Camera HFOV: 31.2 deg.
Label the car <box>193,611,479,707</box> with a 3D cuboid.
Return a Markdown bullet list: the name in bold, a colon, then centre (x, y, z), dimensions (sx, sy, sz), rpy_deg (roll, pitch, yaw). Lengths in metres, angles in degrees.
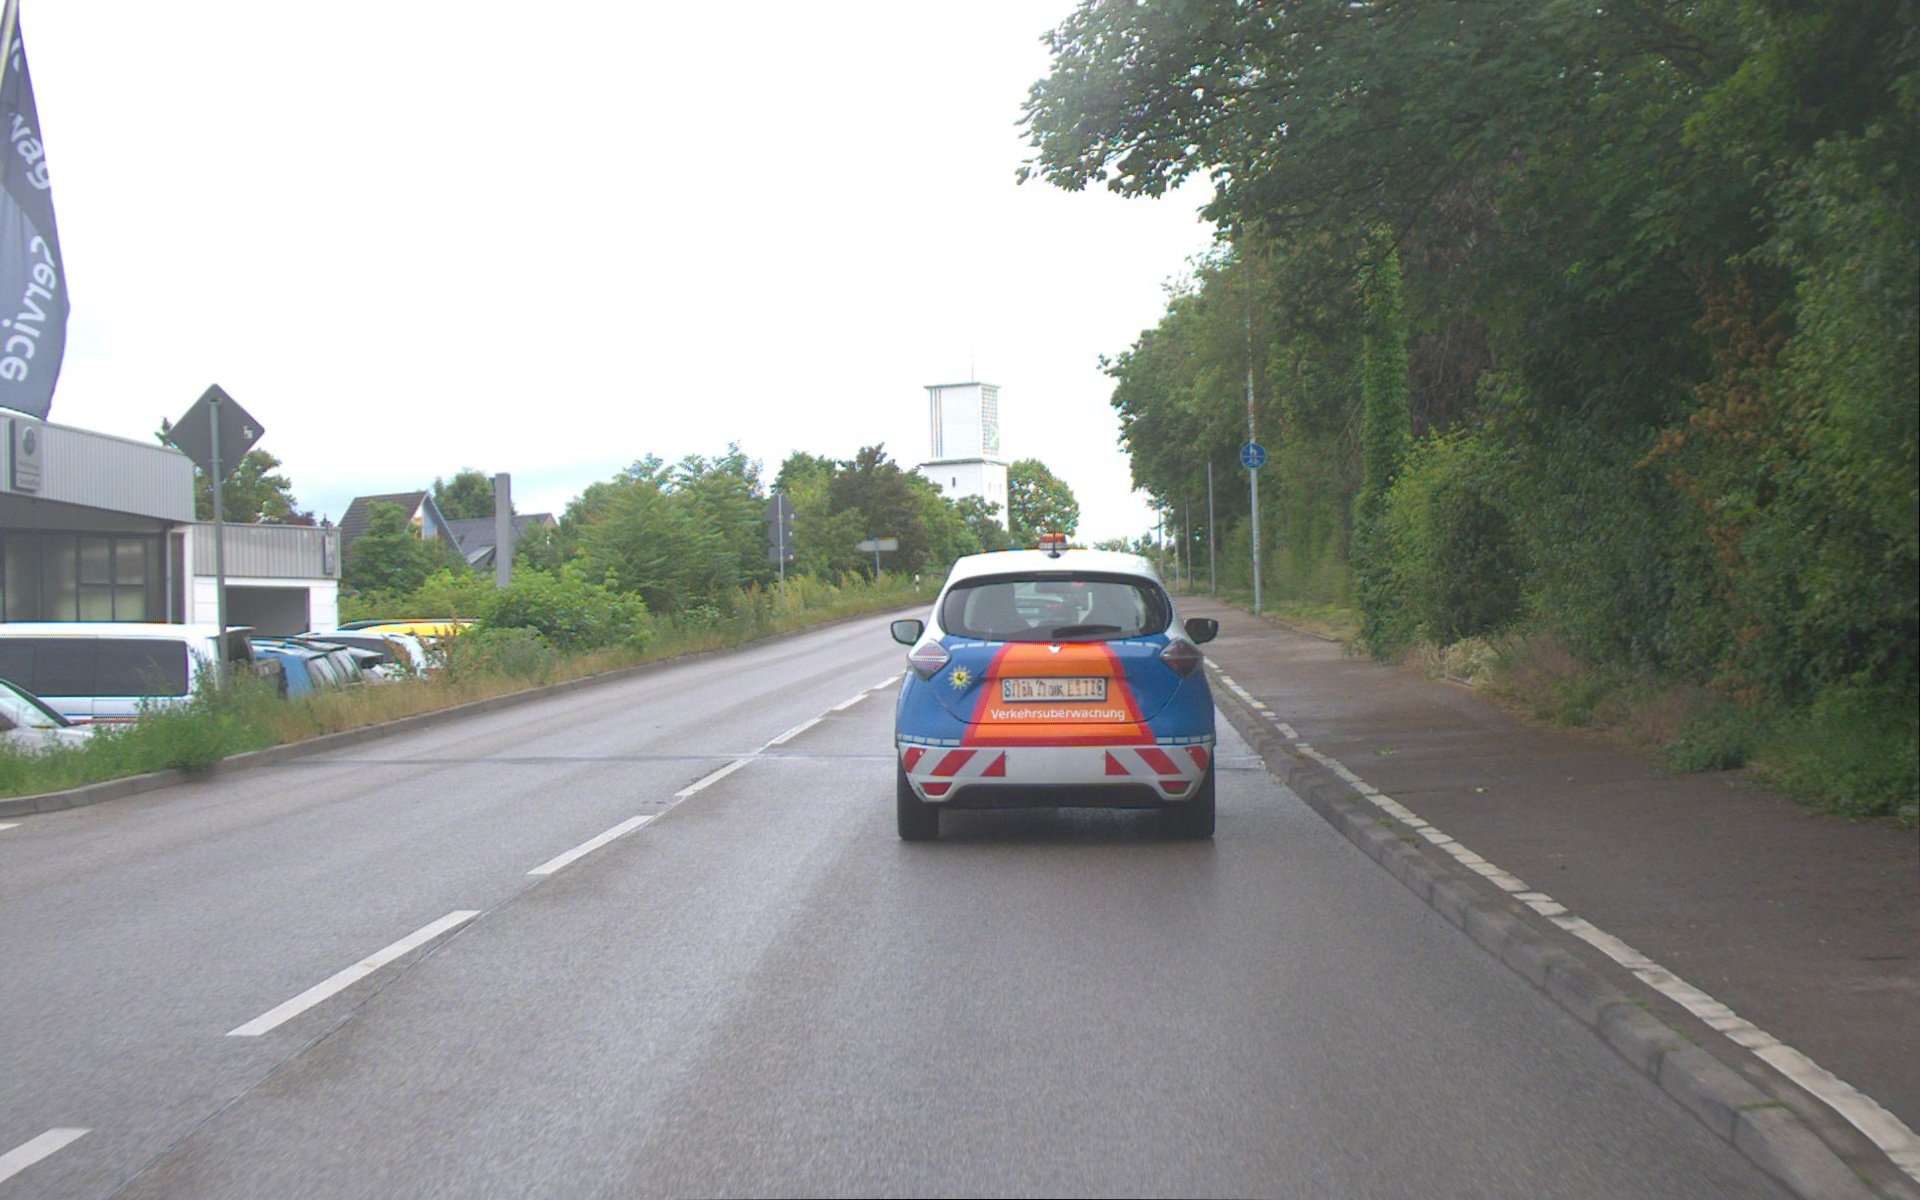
- **car**: centre (-9.583, 0.899, 53.000), dimensions (4.062, 1.286, 1.805), rpy_deg (-2, 1, -1)

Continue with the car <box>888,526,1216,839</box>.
- **car**: centre (0.542, 0.441, 19.454), dimensions (1.657, 1.587, 3.568), rpy_deg (-1, -1, 2)

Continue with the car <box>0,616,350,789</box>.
- **car**: centre (-9.474, 1.178, 39.878), dimensions (4.412, 1.791, 2.002), rpy_deg (-2, 1, -1)

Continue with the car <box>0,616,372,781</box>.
- **car**: centre (-9.509, 1.188, 42.230), dimensions (4.226, 1.791, 1.875), rpy_deg (-2, 1, -1)

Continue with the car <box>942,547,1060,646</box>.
- **car**: centre (0.680, -0.051, 59.208), dimensions (1.802, 1.584, 3.563), rpy_deg (-2, 0, -2)

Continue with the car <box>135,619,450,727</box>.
- **car**: centre (-9.749, 1.052, 50.435), dimensions (4.226, 1.364, 1.875), rpy_deg (-2, 1, -1)

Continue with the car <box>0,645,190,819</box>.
- **car**: centre (-9.358, 1.242, 31.768), dimensions (4.009, 1.473, 1.824), rpy_deg (-2, 1, 1)

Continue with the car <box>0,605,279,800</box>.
- **car**: centre (-9.250, 1.035, 34.379), dimensions (4.412, 1.791, 1.934), rpy_deg (-2, 1, 1)
